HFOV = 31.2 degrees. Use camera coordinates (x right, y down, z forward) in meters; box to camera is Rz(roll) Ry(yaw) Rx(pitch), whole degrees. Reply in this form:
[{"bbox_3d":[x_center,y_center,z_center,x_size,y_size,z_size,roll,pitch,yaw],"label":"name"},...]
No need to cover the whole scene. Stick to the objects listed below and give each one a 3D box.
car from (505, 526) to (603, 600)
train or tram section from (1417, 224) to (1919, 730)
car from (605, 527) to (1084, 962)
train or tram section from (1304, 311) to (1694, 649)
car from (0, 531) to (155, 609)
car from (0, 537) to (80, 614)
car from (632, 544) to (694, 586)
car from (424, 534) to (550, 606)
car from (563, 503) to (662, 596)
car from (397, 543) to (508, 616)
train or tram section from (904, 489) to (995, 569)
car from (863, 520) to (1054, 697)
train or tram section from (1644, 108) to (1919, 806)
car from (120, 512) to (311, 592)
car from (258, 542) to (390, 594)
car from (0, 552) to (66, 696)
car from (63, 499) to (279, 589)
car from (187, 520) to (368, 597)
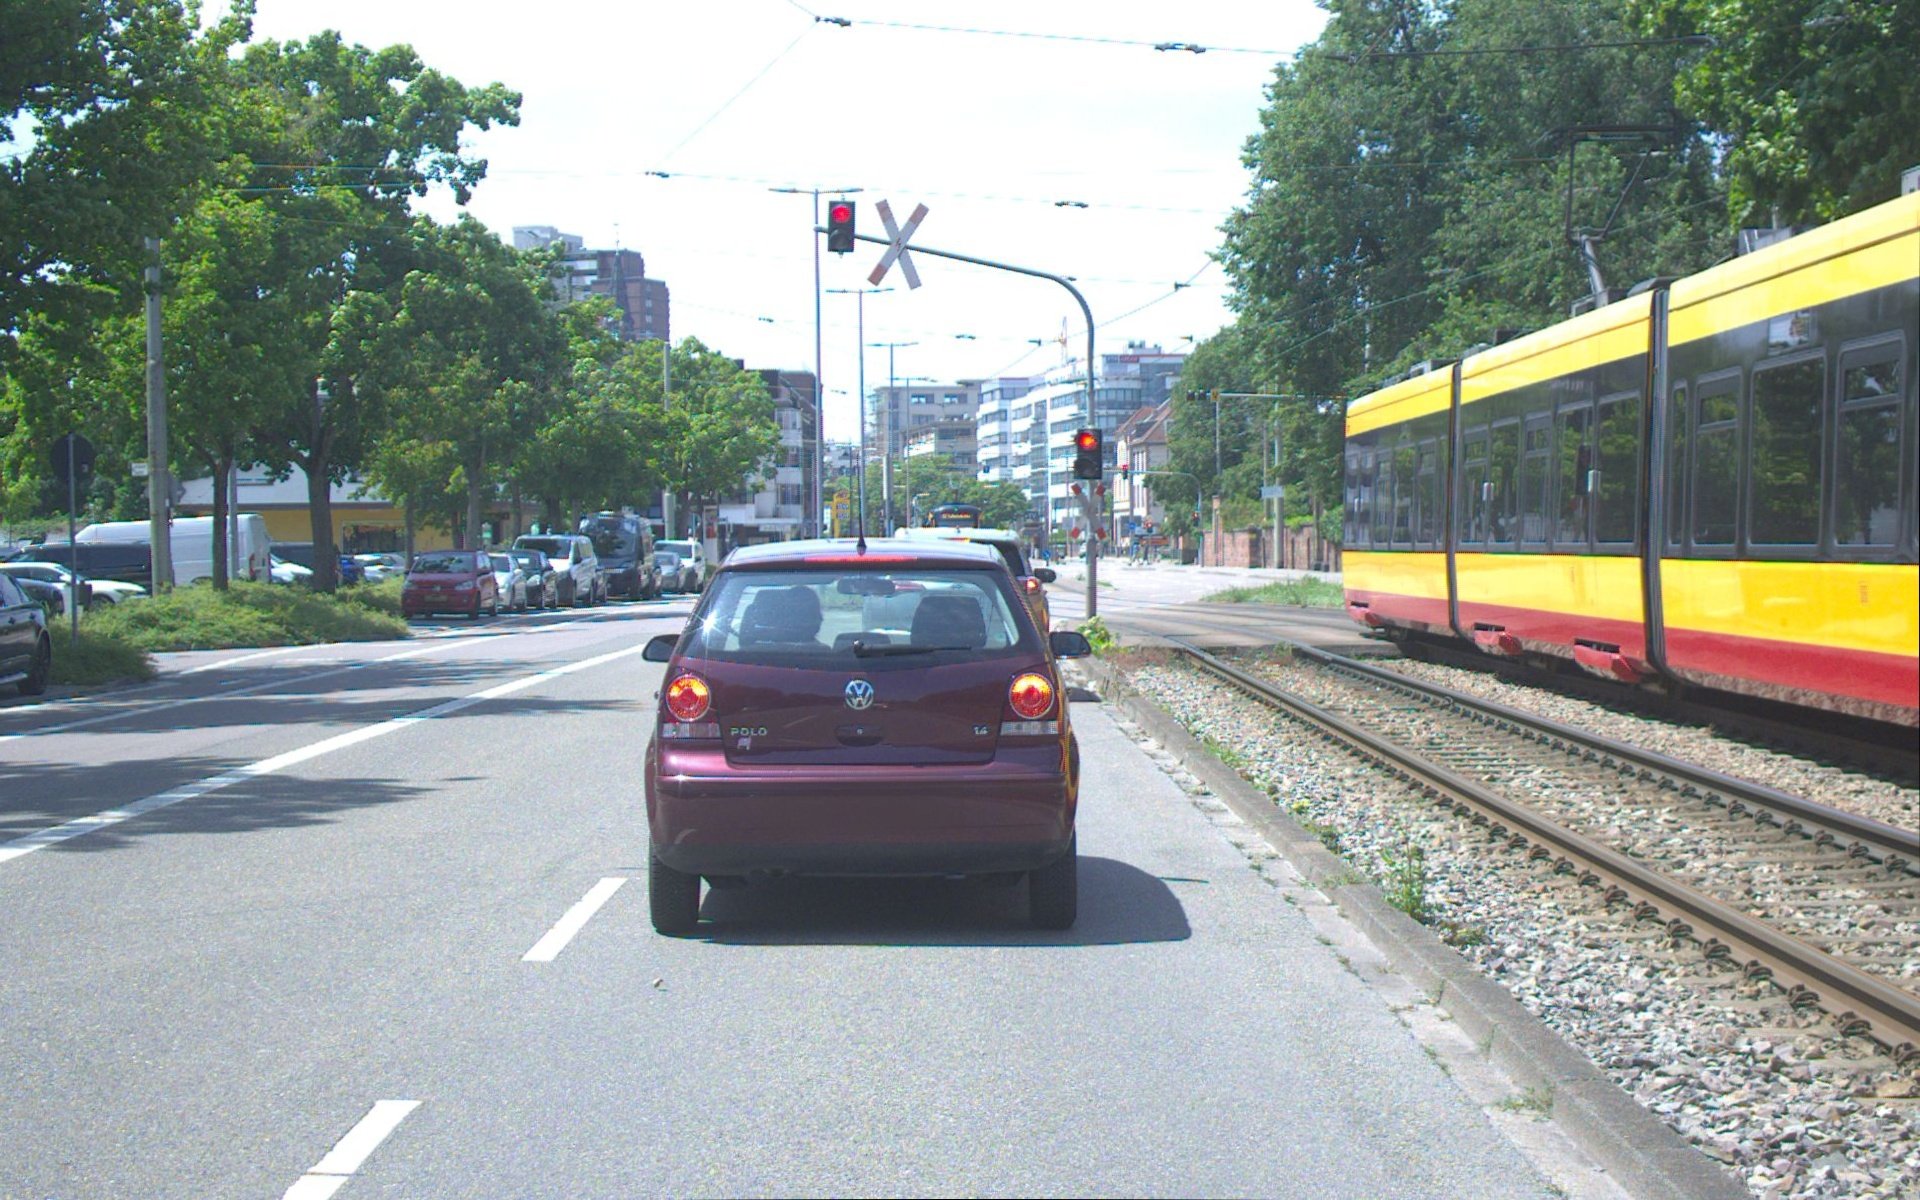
[{"bbox_3d":[-10.712,-0.969,91.009,1.783,1.875,4.785,1,0,3],"label":"car"},{"bbox_3d":[6.747,-1.066,32.426,3.028,3.785,13.090,-1,1,0],"label":"train or tram section"},{"bbox_3d":[-0.447,0.473,14.195,1.672,1.516,4.000,1,1,-1],"label":"car"},{"bbox_3d":[6.732,-1.484,45.247,3.028,3.785,12.761,-1,1,0],"label":"train or tram section"},{"bbox_3d":[-21.060,-0.709,80.364,3.987,1.740,1.998,-1,1,-1],"label":"car"},{"bbox_3d":[-20.973,-0.491,72.333,4.344,1.579,1.912,-1,1,6],"label":"car"},{"bbox_3d":[-10.481,-1.216,121.467,1.614,1.436,4.000,1,0,3],"label":"car"},{"bbox_3d":[-11.078,-0.689,80.773,1.976,1.595,4.557,1,0,4],"label":"car"},{"bbox_3d":[-10.474,-1.514,104.047,2.361,2.683,5.307,1,0,1],"label":"car"},{"bbox_3d":[-10.926,-0.447,74.225,1.663,1.491,4.000,1,0,2],"label":"car"},{"bbox_3d":[-0.581,-3.409,164.425,2.740,3.597,12.873,1,1,-7],"label":"train or tram section"},{"bbox_3d":[-0.055,0.039,34.423,1.777,1.641,4.000,1,1,-1],"label":"car"},{"bbox_3d":[6.722,-0.802,19.373,3.028,3.785,13.090,-1,1,0],"label":"train or tram section"},{"bbox_3d":[-22.080,-1.417,102.141,5.097,2.237,2.378,1,0,1],"label":"car"},{"bbox_3d":[-21.201,-1.063,114.680,4.020,1.611,1.816,1,0,1],"label":"car"},{"bbox_3d":[-10.953,0.242,36.477,1.818,1.471,4.449,1,1,-1],"label":"car"},{"bbox_3d":[-20.839,-1.477,91.004,5.097,2.237,2.378,1,0,1],"label":"car"},{"bbox_3d":[-21.333,-1.293,107.586,5.097,2.237,2.378,1,0,1],"label":"car"}]
